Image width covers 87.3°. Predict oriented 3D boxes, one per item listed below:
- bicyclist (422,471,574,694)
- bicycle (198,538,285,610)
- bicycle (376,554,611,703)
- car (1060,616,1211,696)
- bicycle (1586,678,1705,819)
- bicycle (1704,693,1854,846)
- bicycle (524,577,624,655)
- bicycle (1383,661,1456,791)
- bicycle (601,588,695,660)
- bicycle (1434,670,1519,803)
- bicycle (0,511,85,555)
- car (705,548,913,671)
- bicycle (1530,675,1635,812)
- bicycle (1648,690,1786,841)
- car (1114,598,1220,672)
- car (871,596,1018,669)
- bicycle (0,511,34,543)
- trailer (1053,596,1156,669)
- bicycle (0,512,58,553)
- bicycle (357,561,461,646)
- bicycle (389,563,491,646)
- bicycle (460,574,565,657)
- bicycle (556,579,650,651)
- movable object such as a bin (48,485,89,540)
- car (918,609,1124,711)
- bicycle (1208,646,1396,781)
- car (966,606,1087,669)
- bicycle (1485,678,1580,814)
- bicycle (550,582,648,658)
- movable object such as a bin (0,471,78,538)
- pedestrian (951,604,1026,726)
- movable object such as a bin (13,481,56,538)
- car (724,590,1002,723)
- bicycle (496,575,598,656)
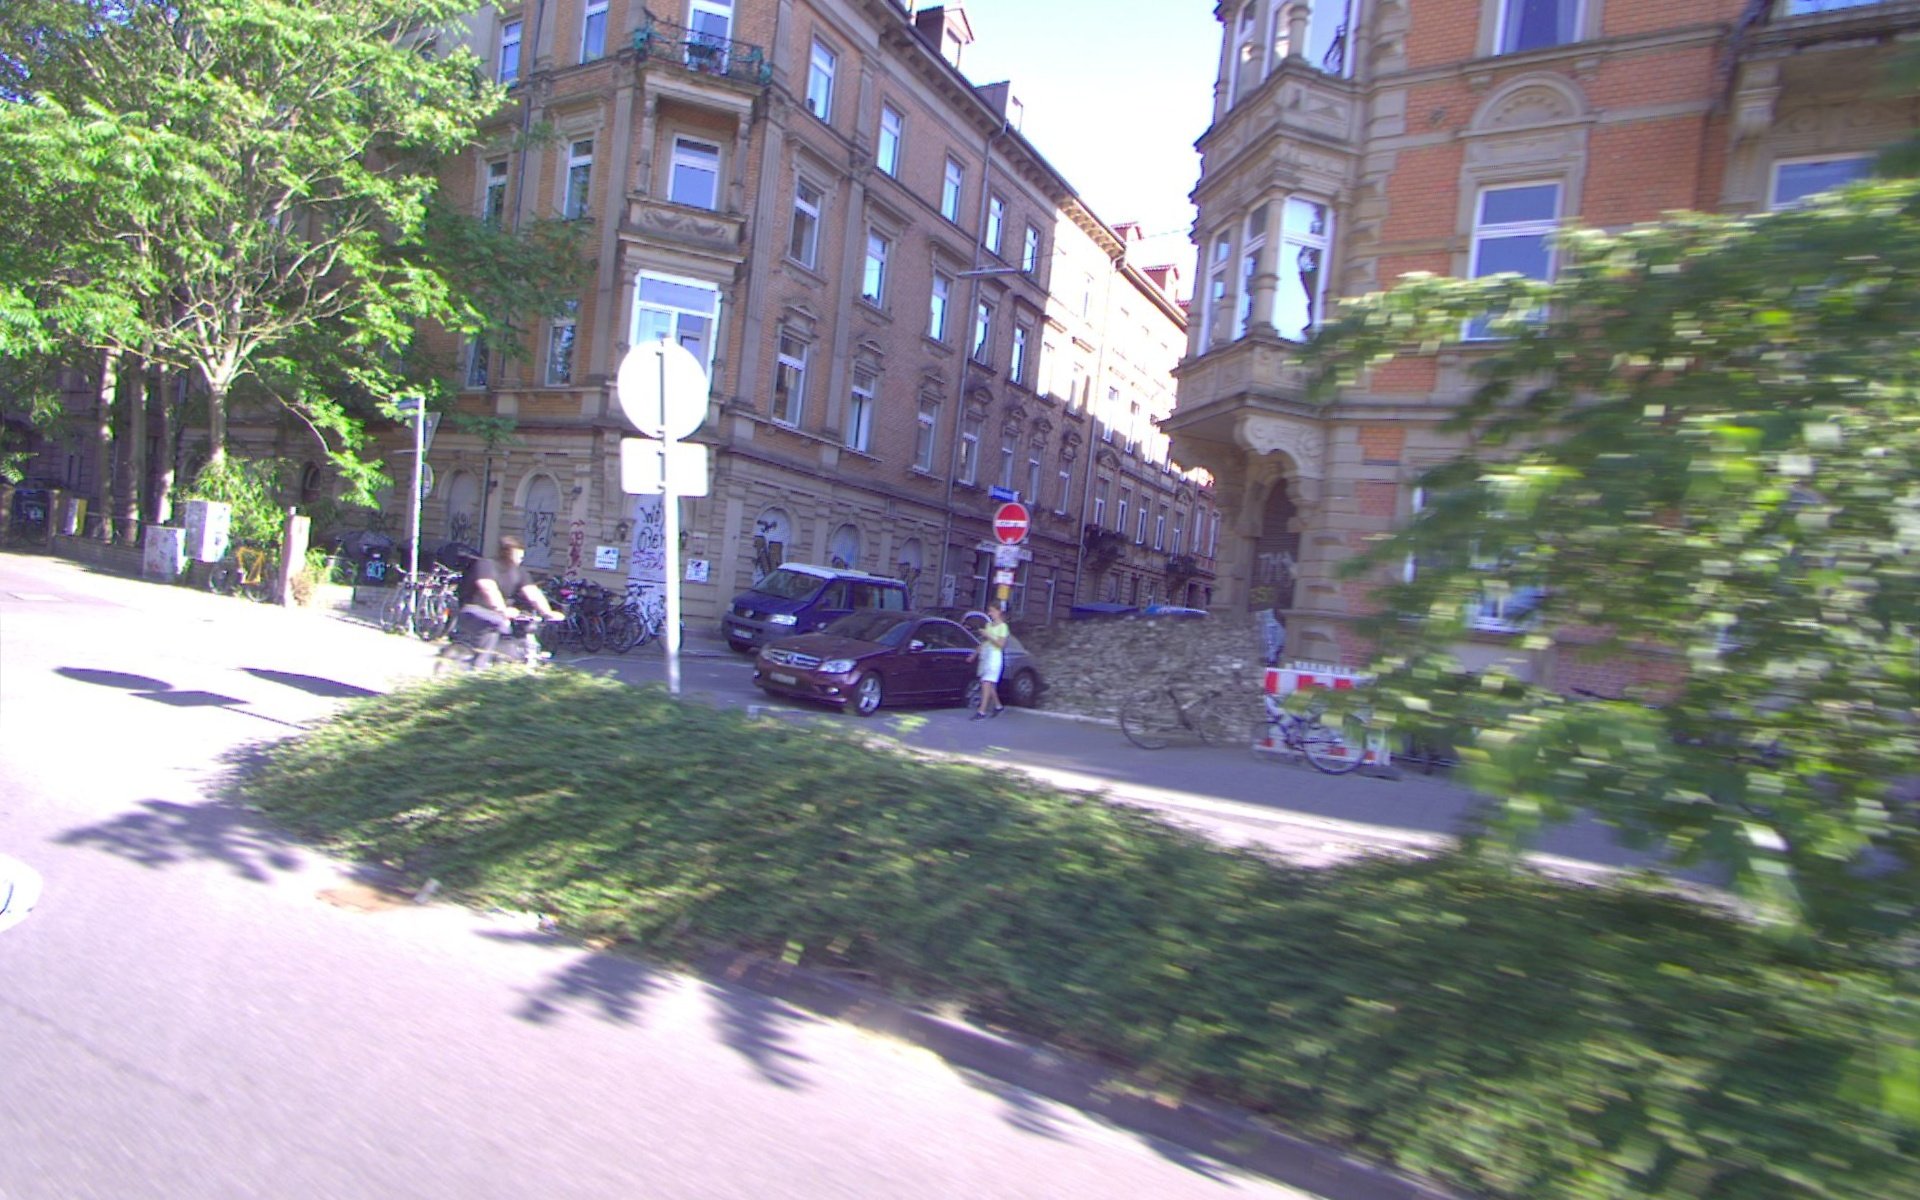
[{"bbox_3d":[-4.077,-0.160,8.874,1.035,1.838,0.641,6,2,31],"label":"bicyclist"},{"bbox_3d":[-12.496,-0.461,17.483,1.692,1.001,0.526,10,4,30],"label":"bicycle"},{"bbox_3d":[-4.170,0.216,8.909,2.321,1.061,0.641,5,1,31],"label":"bicycle"},{"bbox_3d":[4.191,1.317,23.541,1.783,1.433,4.253,10,2,33],"label":"car"},{"bbox_3d":[7.358,1.538,10.881,0.481,1.255,1.888,5,1,19],"label":"bicycle"},{"bbox_3d":[8.370,1.677,10.373,0.481,1.255,1.888,5,1,19],"label":"bicycle"},{"bbox_3d":[-6.645,0.272,17.276,1.790,1.062,0.518,10,4,31],"label":"bicycle"},{"bbox_3d":[5.227,1.386,11.524,0.481,1.255,1.888,5,1,19],"label":"bicycle"},{"bbox_3d":[-5.828,0.441,18.778,1.790,1.062,0.518,10,4,31],"label":"bicycle"},{"bbox_3d":[5.786,1.477,11.349,0.481,1.255,1.888,5,1,19],"label":"bicycle"},{"bbox_3d":[-24.089,-1.743,26.342,0.530,0.937,1.653,10,3,32],"label":"bicycle"},{"bbox_3d":[-3.099,0.302,21.713,1.745,2.151,4.584,10,1,29],"label":"car"},{"bbox_3d":[6.849,1.526,11.157,0.481,1.255,1.888,5,1,19],"label":"bicycle"},{"bbox_3d":[7.809,1.650,10.467,0.481,1.255,1.888,5,1,19],"label":"bicycle"},{"bbox_3d":[8.598,1.462,41.250,2.029,2.552,5.960,10,3,31],"label":"car"},{"bbox_3d":[-0.310,0.888,26.549,1.763,1.528,4.163,10,3,31],"label":"car"},{"bbox_3d":[-28.031,-2.160,29.808,0.369,0.865,0.769,10,3,28],"label":"bicycle"},{"bbox_3d":[5.246,1.200,36.101,1.967,2.218,3.989,10,3,32],"label":"trailer"},{"bbox_3d":[-25.156,-1.806,26.722,0.530,0.937,1.653,10,3,32],"label":"bicycle"},{"bbox_3d":[-8.676,0.044,15.818,1.790,1.062,0.518,10,4,31],"label":"bicycle"},{"bbox_3d":[-8.415,0.067,16.258,1.790,1.062,0.518,10,4,31],"label":"bicycle"},{"bbox_3d":[-7.238,0.244,16.240,1.790,1.062,0.518,10,4,31],"label":"bicycle"},{"bbox_3d":[-6.630,0.267,18.635,1.790,1.062,0.518,10,4,31],"label":"bicycle"},{"bbox_3d":[-30.169,-2.943,34.040,0.730,1.715,0.755,10,4,29],"label":"movable object such as a bin"},{"bbox_3d":[1.268,1.123,18.795,1.783,1.433,4.252,10,2,34],"label":"car"},{"bbox_3d":[3.793,1.227,11.223,1.855,1.255,0.490,5,2,22],"label":"bicycle"},{"bbox_3d":[2.091,1.159,30.623,1.763,1.528,4.163,10,3,31],"label":"car"},{"bbox_3d":[6.338,1.564,11.222,0.481,1.255,1.888,5,1,19],"label":"bicycle"},{"bbox_3d":[-6.384,0.338,17.737,1.790,1.062,0.518,10,4,31],"label":"bicycle"},{"bbox_3d":[-32.220,-3.348,34.825,3.176,2.022,1.547,7,2,31],"label":"movable object such as a bin"},{"bbox_3d":[0.377,0.881,13.771,0.692,1.554,0.659,6,1,-18],"label":"pedestrian"},{"bbox_3d":[-30.611,-2.980,33.273,0.730,1.715,0.755,10,4,29],"label":"movable object such as a bin"},{"bbox_3d":[-1.250,0.819,14.895,1.782,1.434,4.255,10,2,31],"label":"car"},{"bbox_3d":[-6.910,0.251,16.792,1.790,1.062,0.518,10,4,31],"label":"bicycle"}]
